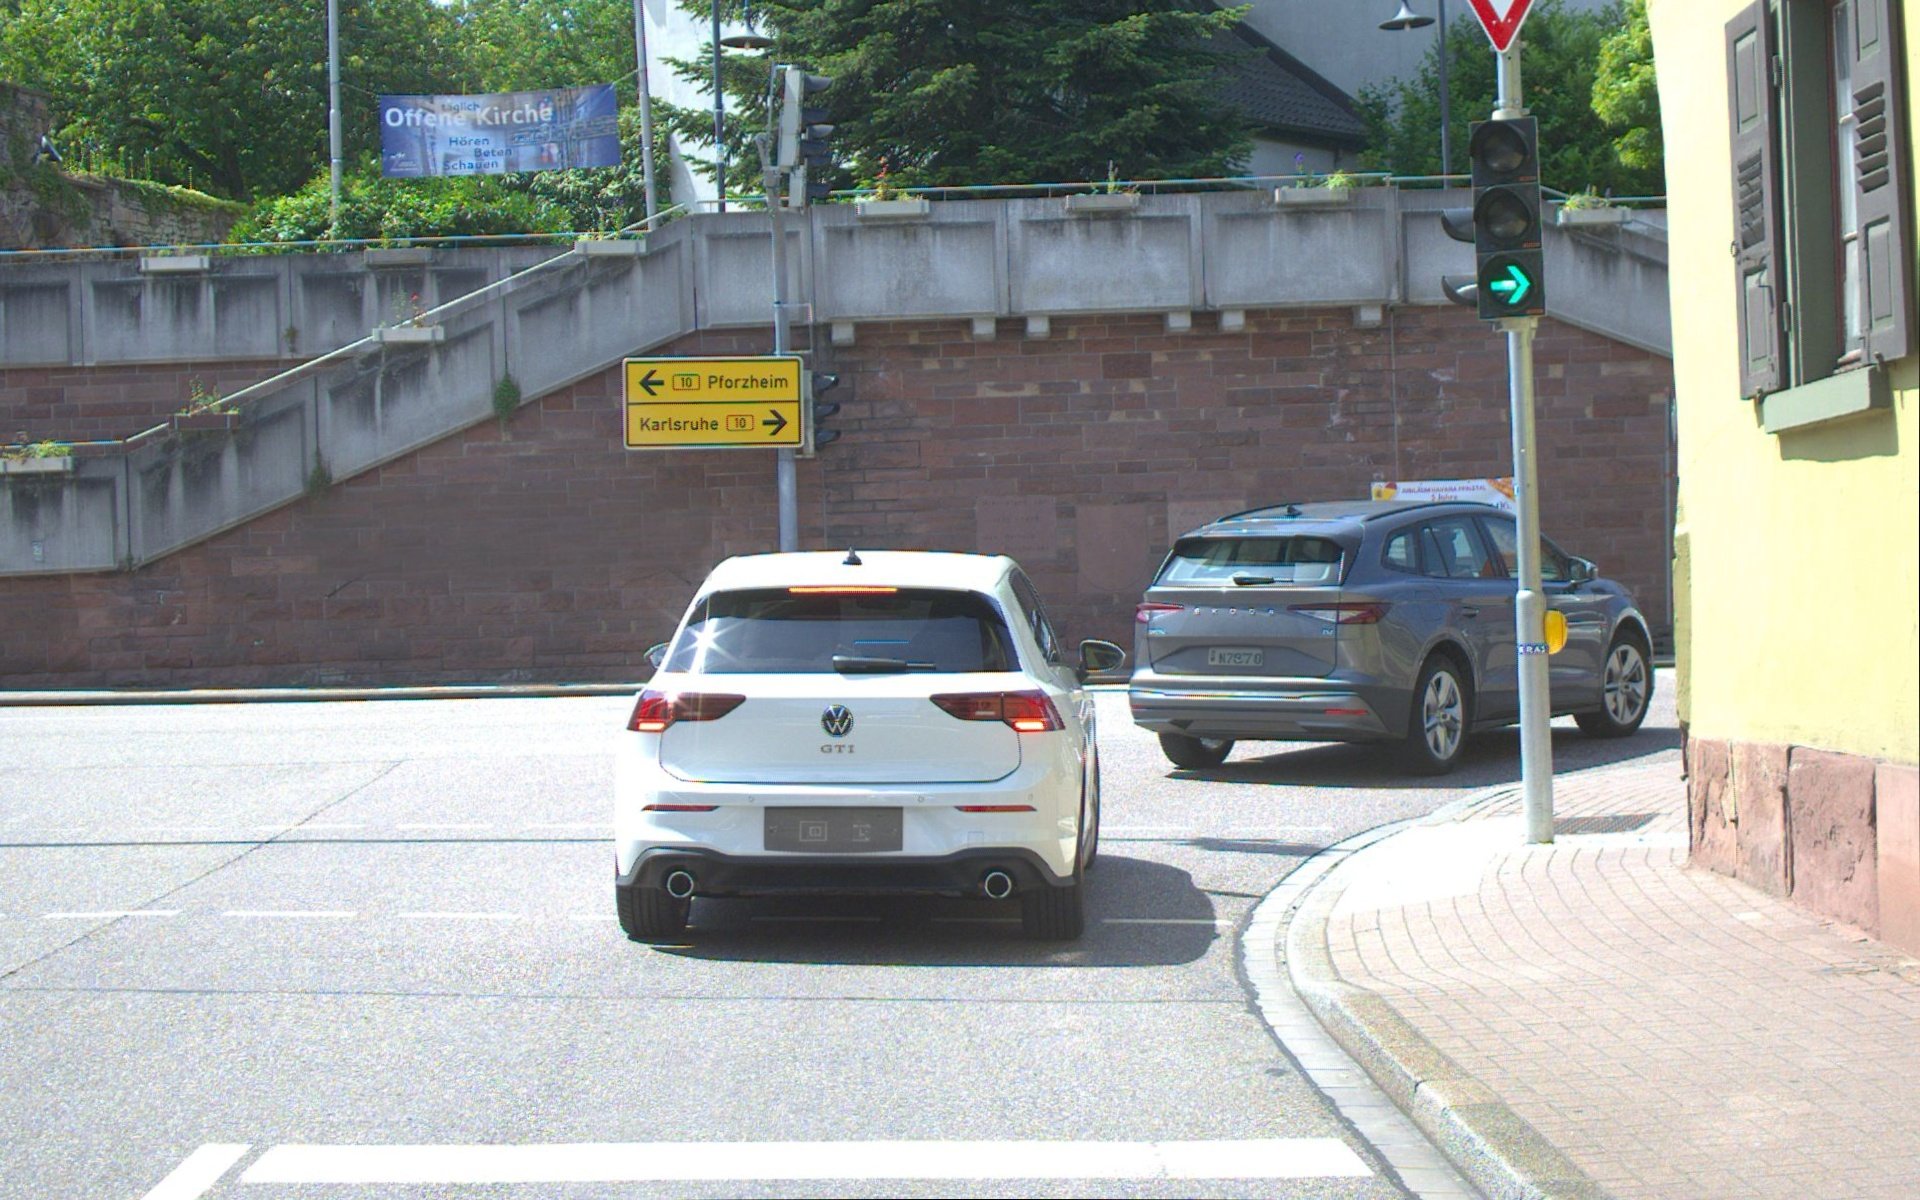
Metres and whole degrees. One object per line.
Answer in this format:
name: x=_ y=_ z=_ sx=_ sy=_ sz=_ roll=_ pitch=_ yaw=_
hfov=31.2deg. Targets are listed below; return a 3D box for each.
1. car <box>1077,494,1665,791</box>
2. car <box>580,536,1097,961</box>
car: x=2.708 y=0.180 z=21.702 sx=1.953 sy=1.577 sz=4.318 roll=0 pitch=3 yaw=33
car: x=-0.353 y=0.504 z=14.032 sx=1.783 sy=1.453 sz=3.863 roll=-1 pitch=1 yaw=2
